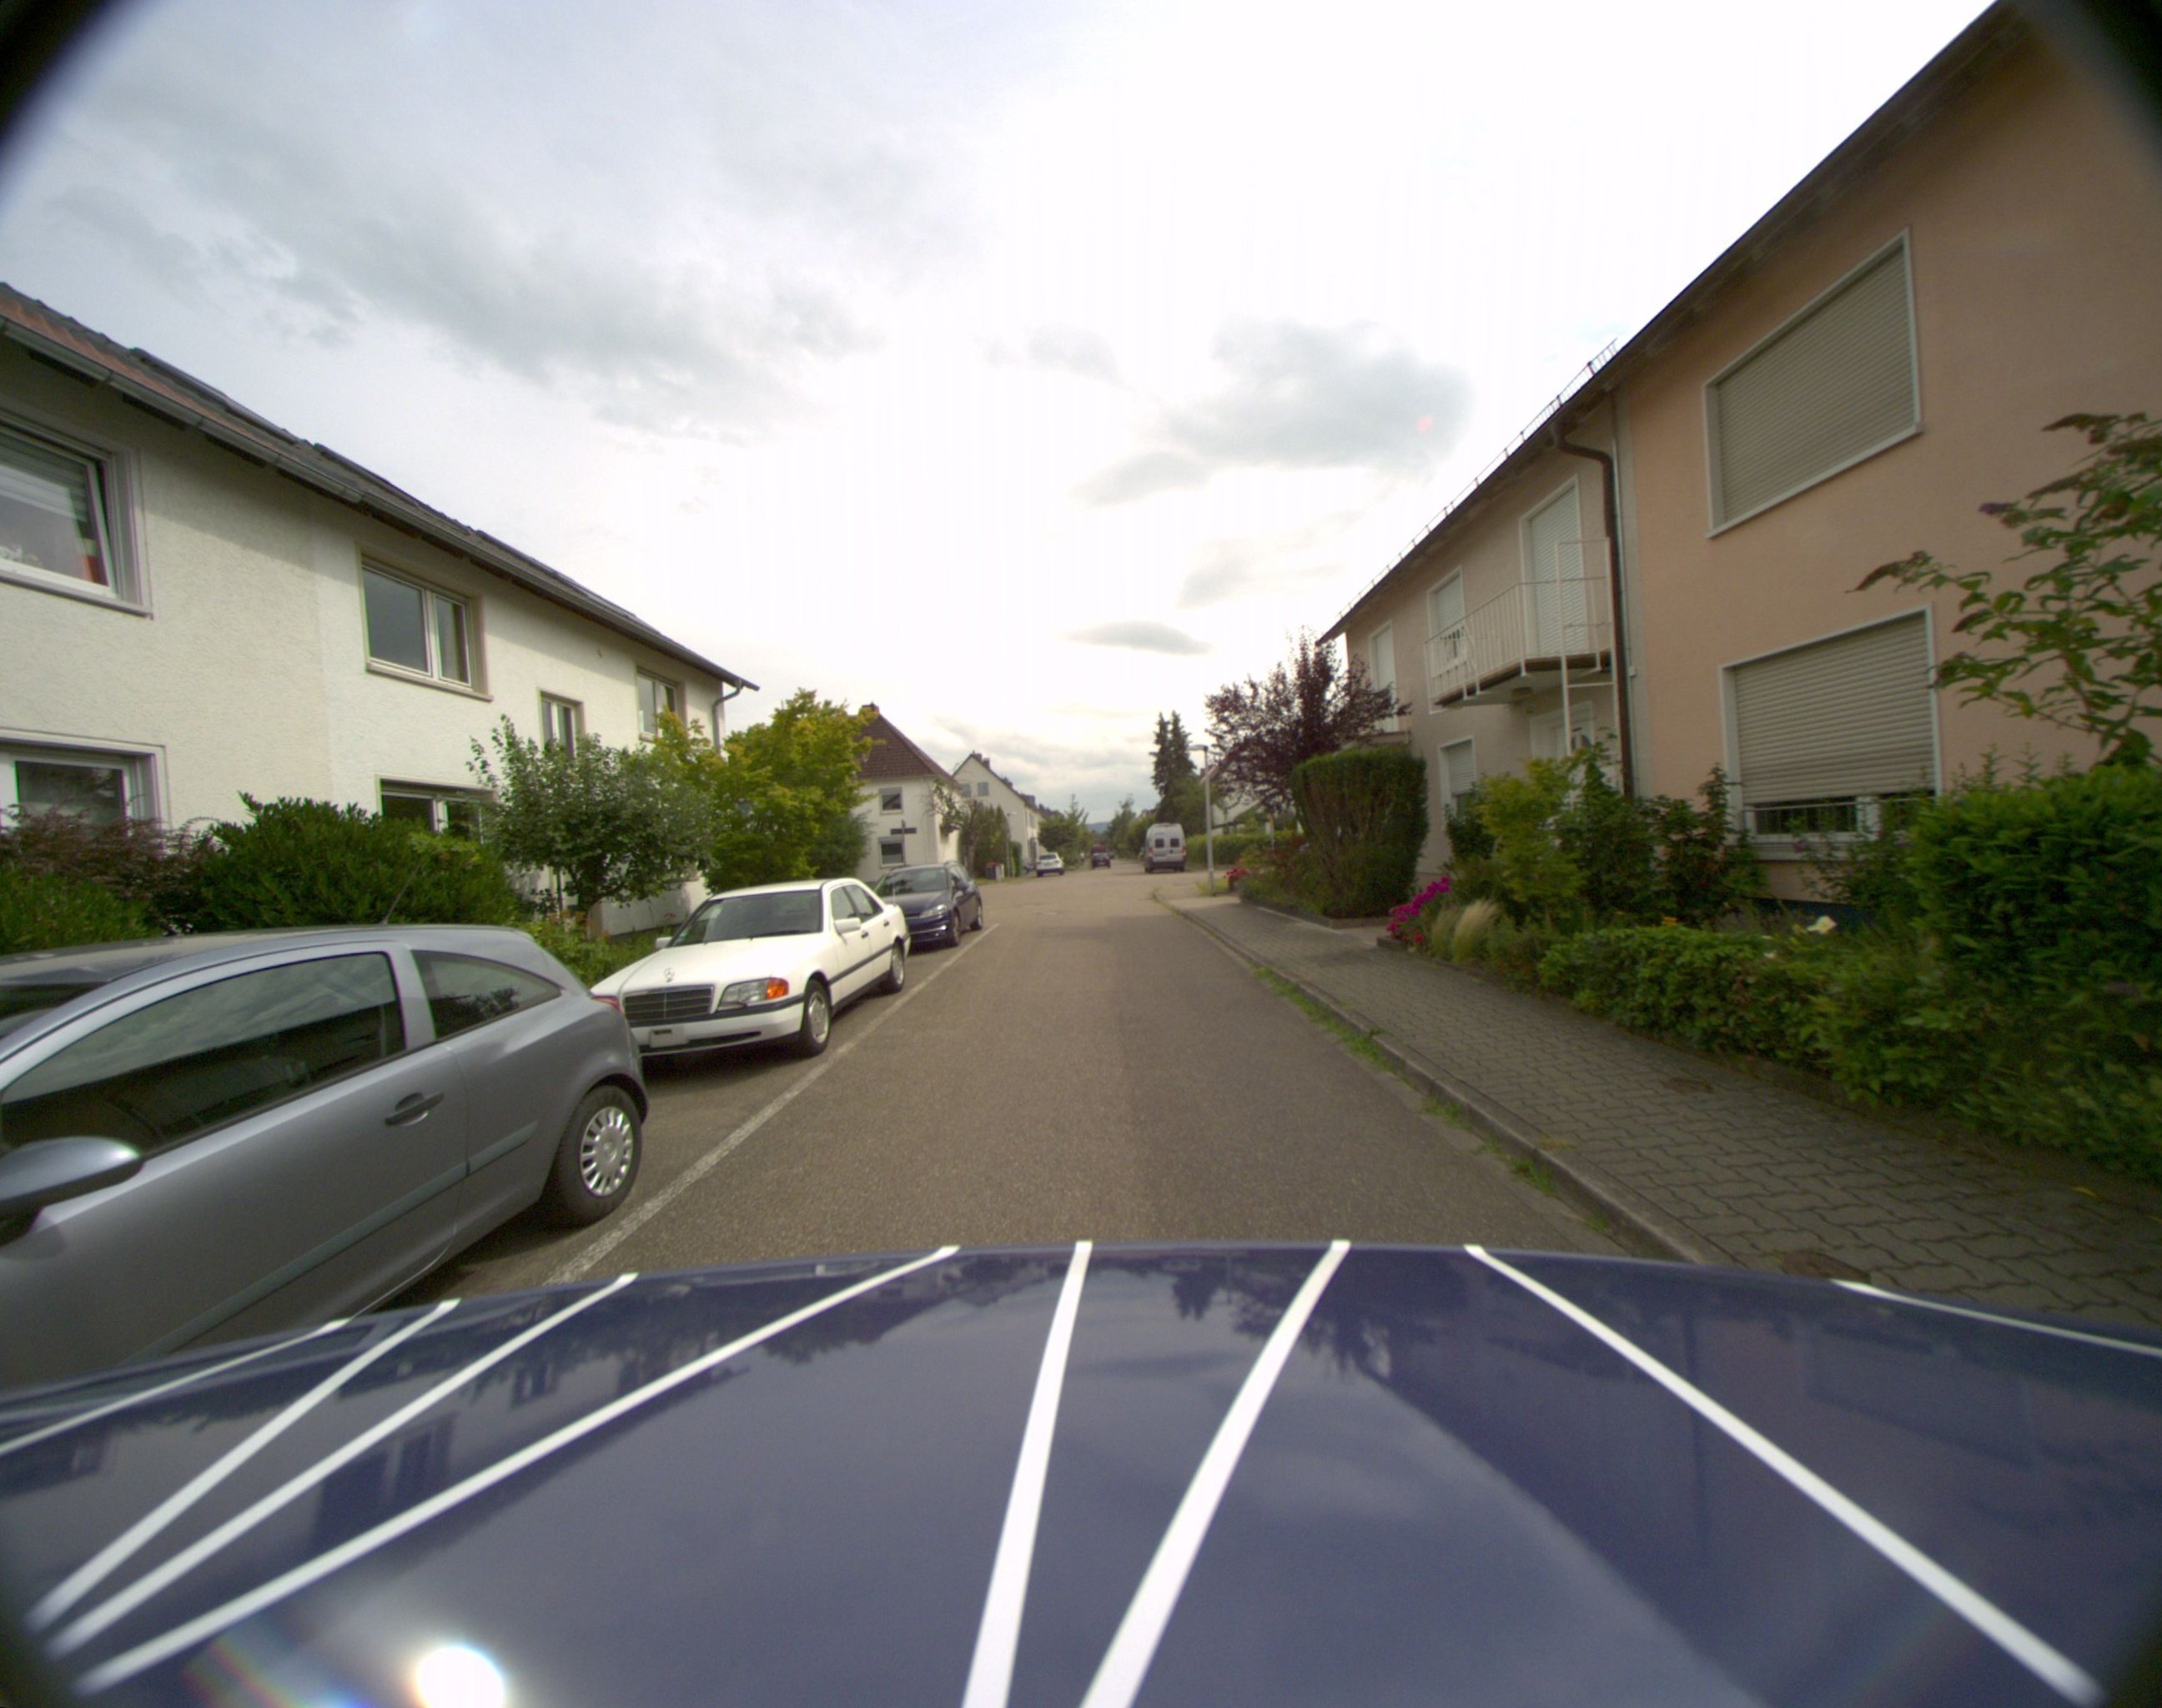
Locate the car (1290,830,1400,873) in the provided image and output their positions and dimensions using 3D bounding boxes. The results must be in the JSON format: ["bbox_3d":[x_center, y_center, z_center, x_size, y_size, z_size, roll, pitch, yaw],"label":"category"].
[{"bbox_3d":[10.815,-0.104,31.303,3.882,1.433,1.722,-4,1,1],"label":"car"}]

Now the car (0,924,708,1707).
[{"bbox_3d":[-2.984,1.171,1.990,1.746,1.462,4.217,-4,0,2],"label":"car"}]

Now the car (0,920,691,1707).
[{"bbox_3d":[-2.993,1.160,1.989,1.707,1.434,4.219,-5,0,-1],"label":"car"}]

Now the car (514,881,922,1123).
[{"bbox_3d":[-2.990,1.104,7.583,1.697,1.357,4.697,-4,1,0],"label":"car"}]

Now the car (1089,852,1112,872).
[{"bbox_3d":[1.964,0.752,75.056,1.998,1.696,4.001,-4,1,5],"label":"car"}]

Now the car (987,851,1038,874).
[{"bbox_3d":[-5.789,0.707,64.466,3.996,1.696,2.000,-4,1,2],"label":"car"}]

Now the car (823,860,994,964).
[{"bbox_3d":[-2.972,0.925,14.270,1.872,1.431,4.850,-4,1,2],"label":"car"}]

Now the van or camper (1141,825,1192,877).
[{"bbox_3d":[4.986,-0.214,45.031,2.346,2.719,5.747,-4,1,2],"label":"van or camper"}]

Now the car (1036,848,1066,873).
[{"bbox_3d":[-2.171,0.459,54.789,1.999,1.590,3.999,-4,1,-2],"label":"car"}]
